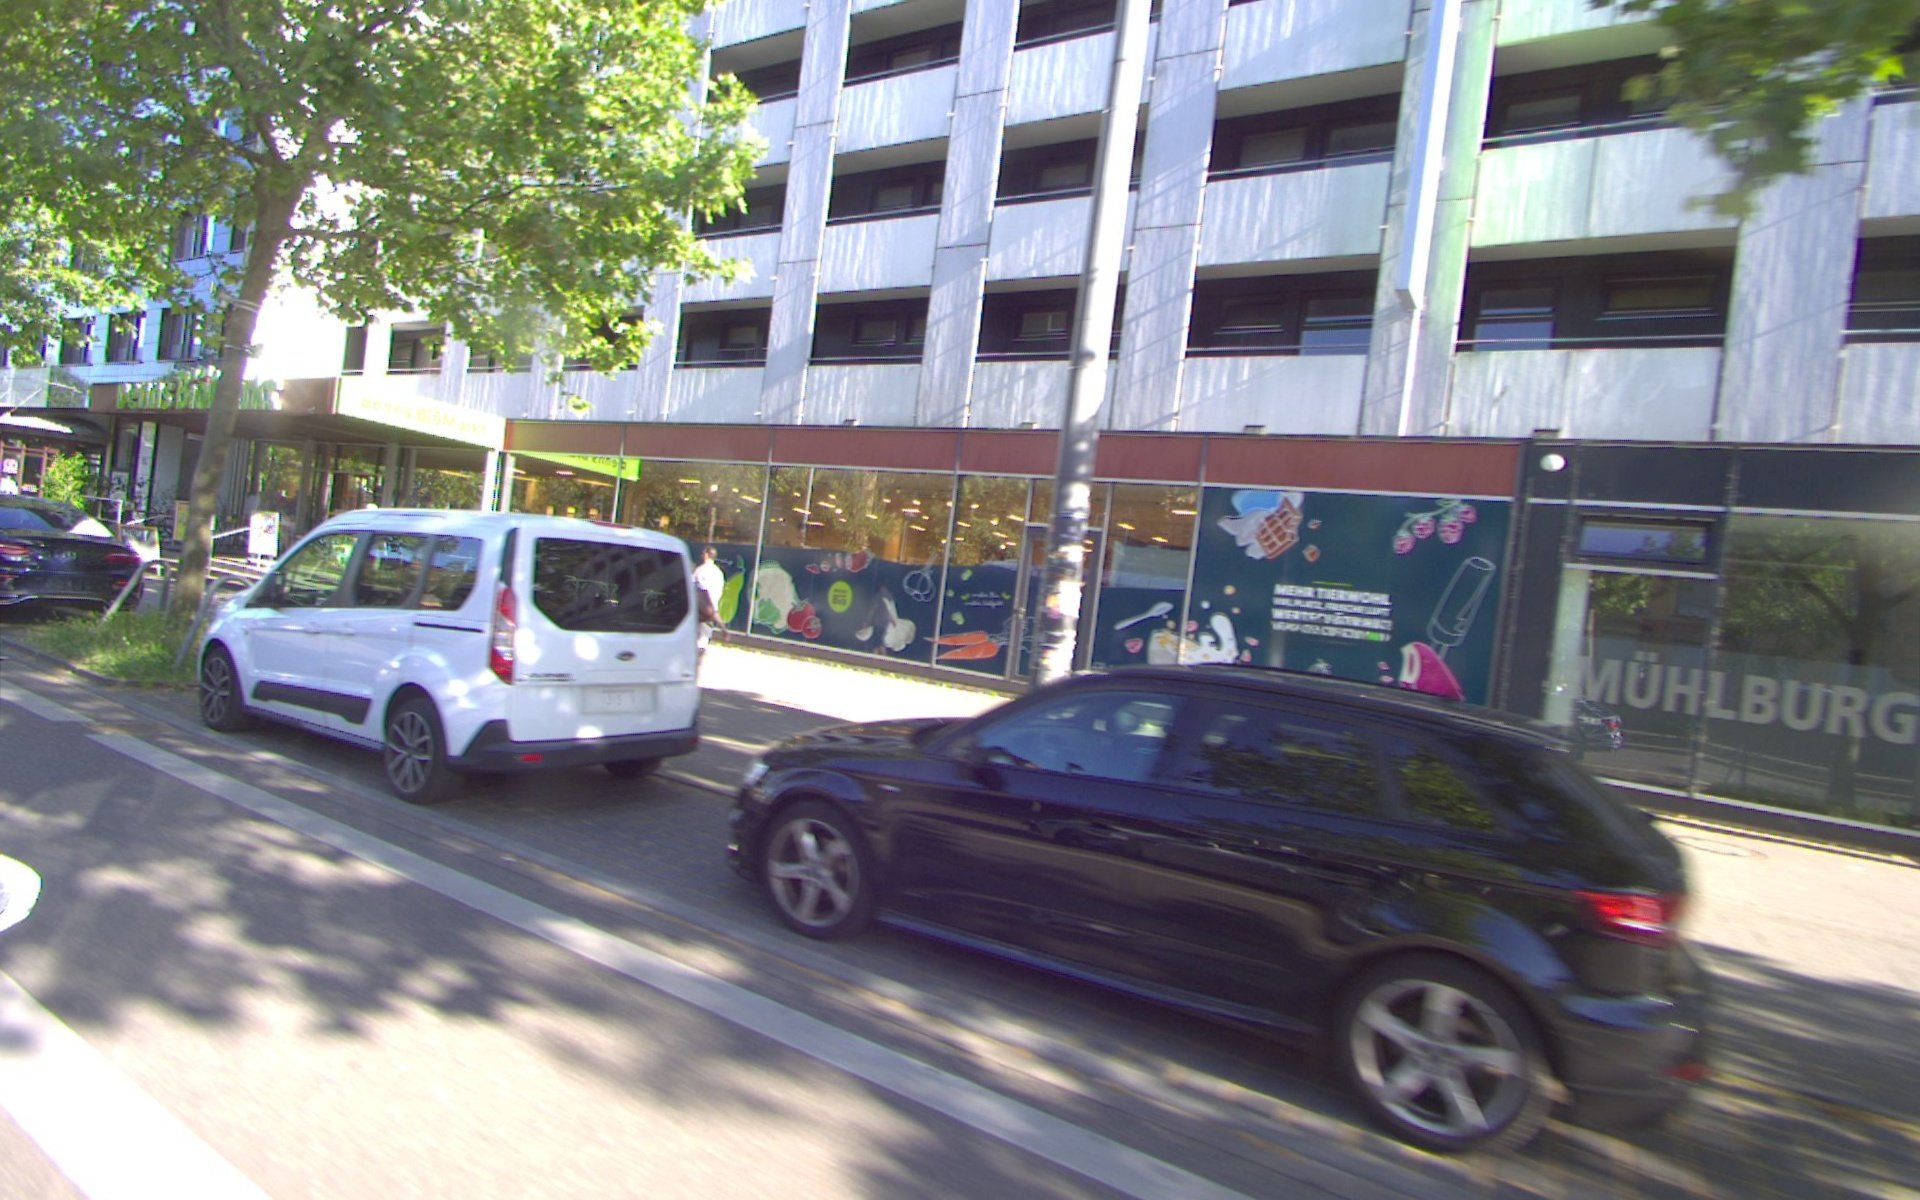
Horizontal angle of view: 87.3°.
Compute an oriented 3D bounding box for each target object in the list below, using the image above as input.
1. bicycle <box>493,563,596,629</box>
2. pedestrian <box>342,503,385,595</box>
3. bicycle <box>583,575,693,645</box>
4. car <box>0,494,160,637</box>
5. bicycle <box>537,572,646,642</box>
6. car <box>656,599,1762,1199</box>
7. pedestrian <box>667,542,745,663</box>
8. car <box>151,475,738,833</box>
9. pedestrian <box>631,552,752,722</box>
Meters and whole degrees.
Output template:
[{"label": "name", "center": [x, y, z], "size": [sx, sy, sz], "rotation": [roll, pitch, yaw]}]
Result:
[{"label": "bicycle", "center": [-8.057, -0.069, 19.522], "size": [1.687, 1.070, 0.580], "rotation": [6, 4, -32]}, {"label": "pedestrian", "center": [-11.860, -1.022, 20.008], "size": [0.606, 1.739, 0.607], "rotation": [5, 4, -31]}, {"label": "bicycle", "center": [-5.653, 0.179, 17.708], "size": [1.686, 1.069, 0.580], "rotation": [5, 3, -32]}, {"label": "car", "center": [-11.949, -0.589, 12.320], "size": [4.622, 1.434, 1.765], "rotation": [7, -1, 31]}, {"label": "bicycle", "center": [-6.611, 0.138, 18.093], "size": [1.686, 1.069, 0.580], "rotation": [5, 3, -32]}, {"label": "car", "center": [0.789, 0.958, 4.644], "size": [4.223, 1.421, 1.730], "rotation": [7, 1, 31]}, {"label": "pedestrian", "center": [-3.791, 0.030, 14.998], "size": [0.867, 1.700, 0.558], "rotation": [7, 2, 31]}, {"label": "car", "center": [-3.910, 0.212, 7.396], "size": [4.320, 1.814, 1.766], "rotation": [7, 1, 32]}, {"label": "pedestrian", "center": [-2.792, 0.371, 10.471], "size": [0.854, 1.634, 0.698], "rotation": [7, 2, 33]}]
